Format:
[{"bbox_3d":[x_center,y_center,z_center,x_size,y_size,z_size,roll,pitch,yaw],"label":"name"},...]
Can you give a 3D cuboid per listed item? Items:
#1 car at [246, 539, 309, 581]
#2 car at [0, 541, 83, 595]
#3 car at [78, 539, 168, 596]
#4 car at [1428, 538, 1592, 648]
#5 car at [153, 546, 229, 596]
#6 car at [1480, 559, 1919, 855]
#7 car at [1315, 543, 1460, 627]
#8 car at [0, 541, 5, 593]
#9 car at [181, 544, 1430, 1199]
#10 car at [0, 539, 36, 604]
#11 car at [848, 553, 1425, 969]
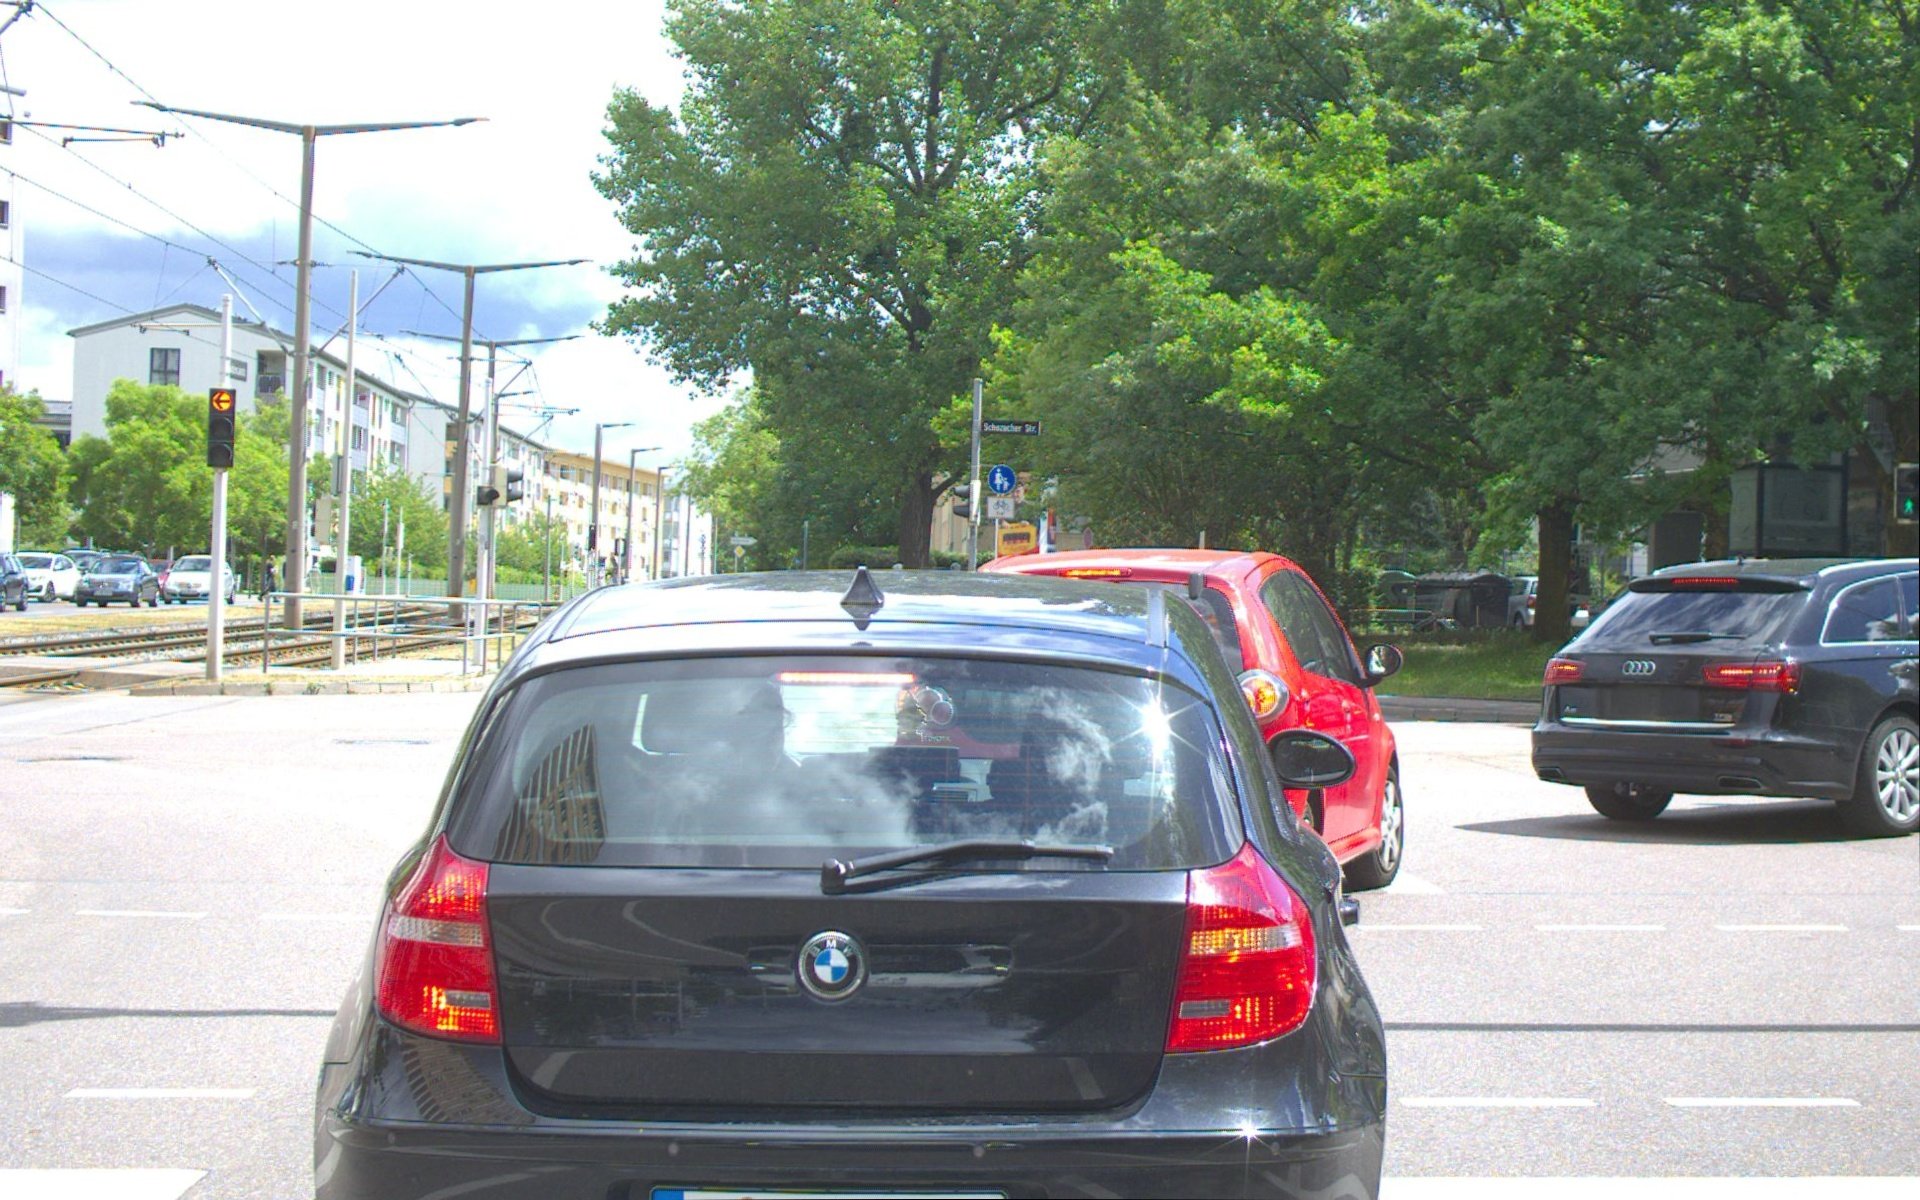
[{"bbox_3d":[-25.953,-1.544,130.809,1.651,1.529,3.872,1,1,-1],"label":"car"},{"bbox_3d":[-27.471,-0.969,102.593,1.651,1.529,3.872,1,1,-1],"label":"car"},{"bbox_3d":[-23.601,-0.928,97.064,1.651,1.529,3.872,1,1,-1],"label":"car"},{"bbox_3d":[9.793,-0.151,61.526,1.726,1.865,4.001,1,1,-8],"label":"car"},{"bbox_3d":[-24.690,-0.947,110.473,1.651,1.529,3.872,1,1,-1],"label":"car"},{"bbox_3d":[5.102,0.507,19.081,4.526,1.417,1.906,0,2,-42],"label":"car"},{"bbox_3d":[8.957,-0.343,72.332,1.862,1.656,4.001,1,1,-11],"label":"car"},{"bbox_3d":[-27.468,-0.904,94.163,1.591,1.469,3.775,1,1,-1],"label":"car"},{"bbox_3d":[-0.210,0.622,6.428,1.700,1.395,3.420,1,1,0],"label":"car"},{"bbox_3d":[-23.670,-0.715,83.194,1.651,1.529,3.872,1,1,-1],"label":"car"},{"bbox_3d":[0.831,0.536,13.842,1.639,1.395,3.418,1,1,15],"label":"car"}]
